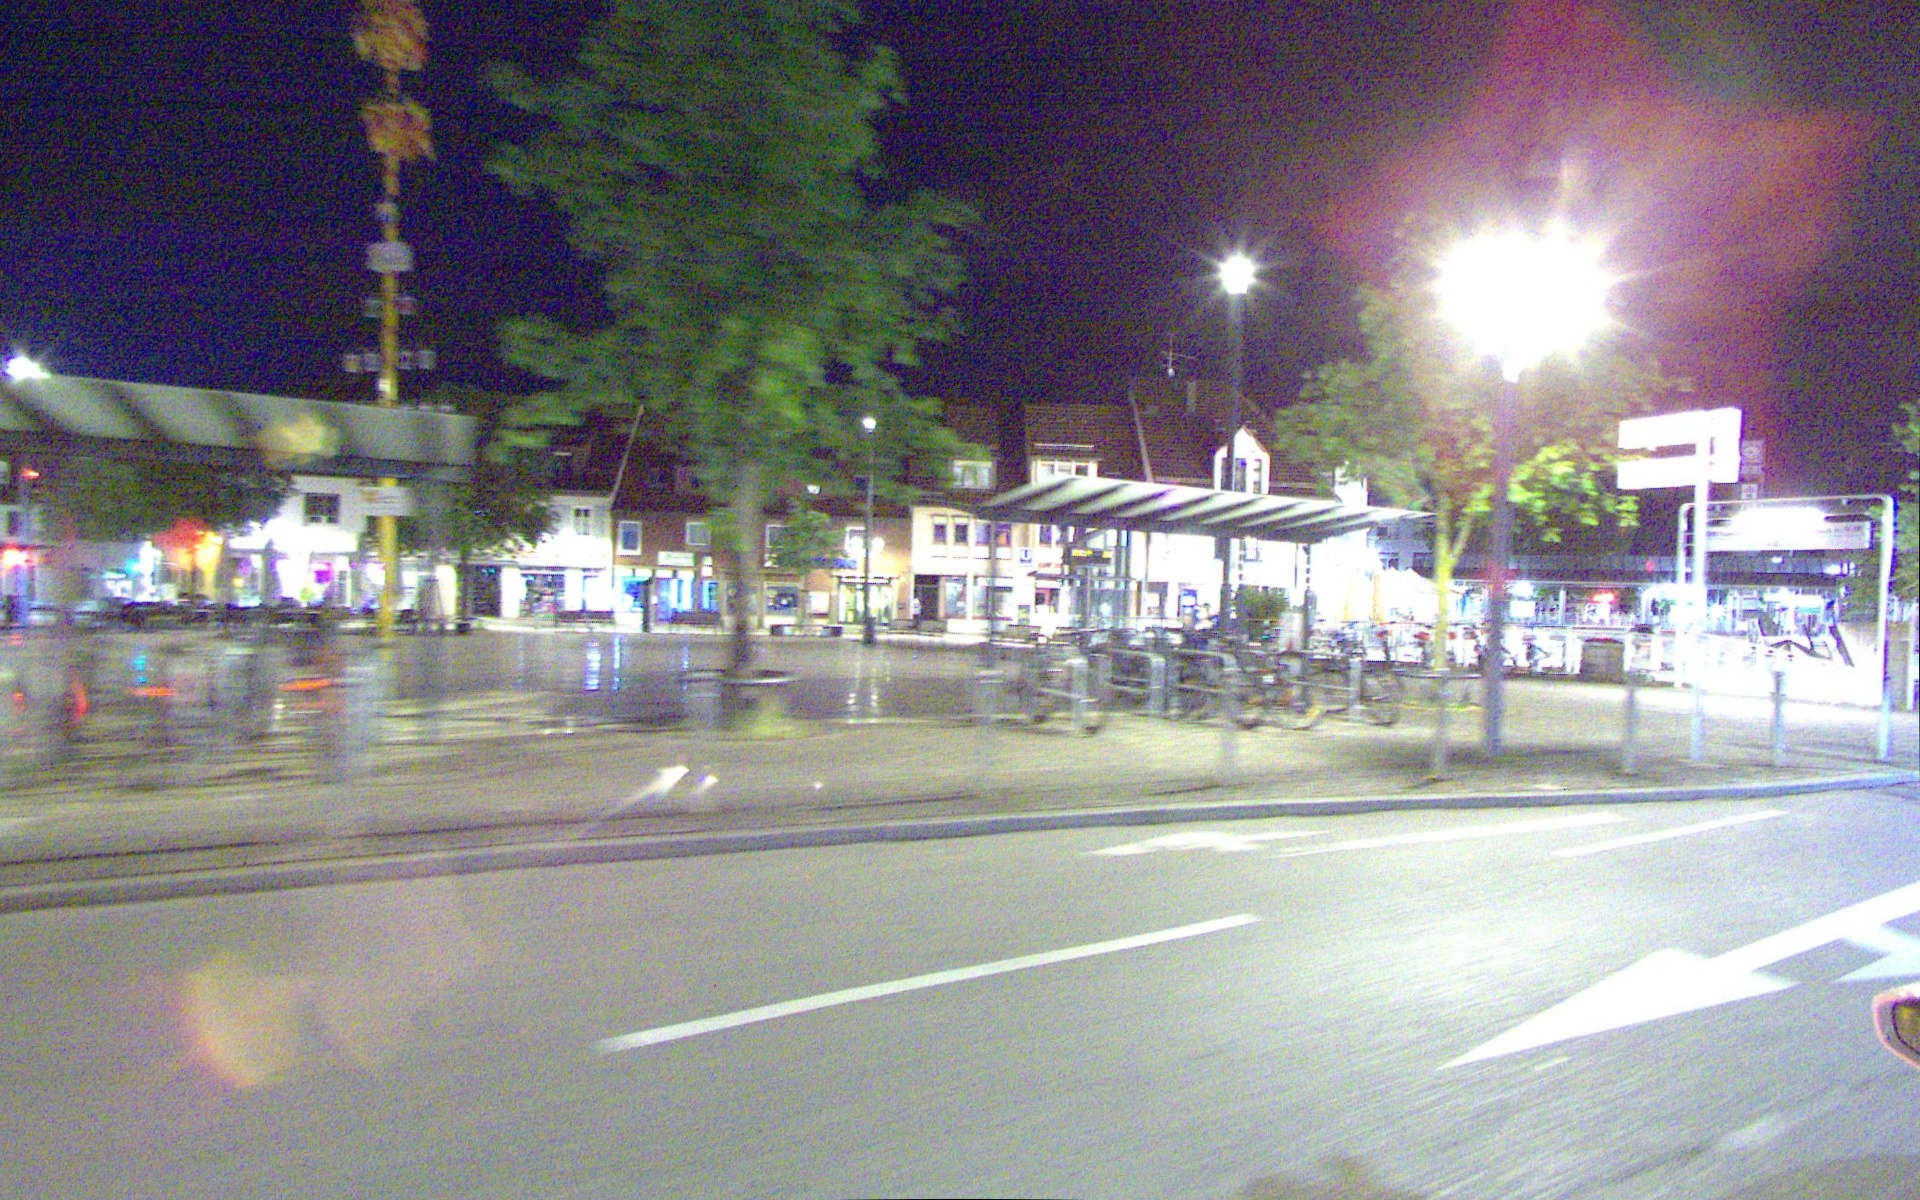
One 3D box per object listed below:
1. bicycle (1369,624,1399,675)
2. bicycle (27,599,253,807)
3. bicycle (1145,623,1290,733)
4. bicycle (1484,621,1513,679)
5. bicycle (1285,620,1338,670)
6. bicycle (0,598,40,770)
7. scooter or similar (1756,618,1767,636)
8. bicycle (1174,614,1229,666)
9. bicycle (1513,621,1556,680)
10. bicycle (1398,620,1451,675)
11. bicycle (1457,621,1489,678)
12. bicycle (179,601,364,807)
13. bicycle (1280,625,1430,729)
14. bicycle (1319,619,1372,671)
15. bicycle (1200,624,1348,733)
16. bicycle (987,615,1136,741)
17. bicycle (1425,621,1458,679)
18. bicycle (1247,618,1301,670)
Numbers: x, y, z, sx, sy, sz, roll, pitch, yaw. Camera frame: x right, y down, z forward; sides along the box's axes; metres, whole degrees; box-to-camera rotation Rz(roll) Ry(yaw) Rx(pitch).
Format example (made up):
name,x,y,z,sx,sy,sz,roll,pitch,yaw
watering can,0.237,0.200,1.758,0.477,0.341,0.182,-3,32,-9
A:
name,x,y,z,sx,sy,sz,roll,pitch,yaw
bicycle,9.708,1.110,22.962,0.597,1.084,1.746,0,0,24
bicycle,-5.597,0.633,6.987,0.776,1.173,1.729,2,2,-24
bicycle,2.910,0.854,11.503,0.662,1.120,1.608,2,0,-30
bicycle,11.685,1.070,21.818,0.535,1.170,1.744,0,0,28
bicycle,8.520,1.070,24.303,0.600,1.115,1.737,0,0,42
bicycle,-6.959,0.610,6.618,0.776,1.173,1.828,2,2,-24
scooter or similar,60.571,2.058,75.922,0.423,1.302,1.146,0,0,25
bicycle,6.119,0.988,25.416,0.600,1.235,1.737,0,0,42
bicycle,12.536,1.075,21.954,0.747,1.177,1.744,0,0,28
bicycle,10.662,1.067,23.028,0.600,1.181,1.737,0,0,42
bicycle,11.398,1.066,22.307,0.598,1.181,1.744,0,0,28
bicycle,-4.780,0.644,7.102,0.776,1.182,1.729,1,3,-24
bicycle,4.770,0.900,12.226,0.662,1.120,1.608,2,0,-30
bicycle,9.073,1.045,23.601,0.600,1.140,1.737,0,0,42
bicycle,3.633,0.872,11.733,0.662,1.120,1.608,2,0,-30
bicycle,1.027,0.771,10.631,0.662,1.179,1.761,1,0,-30
bicycle,10.536,1.060,21.960,0.598,1.181,1.744,0,0,28
bicycle,7.644,1.046,24.427,0.600,1.181,1.737,0,0,42
